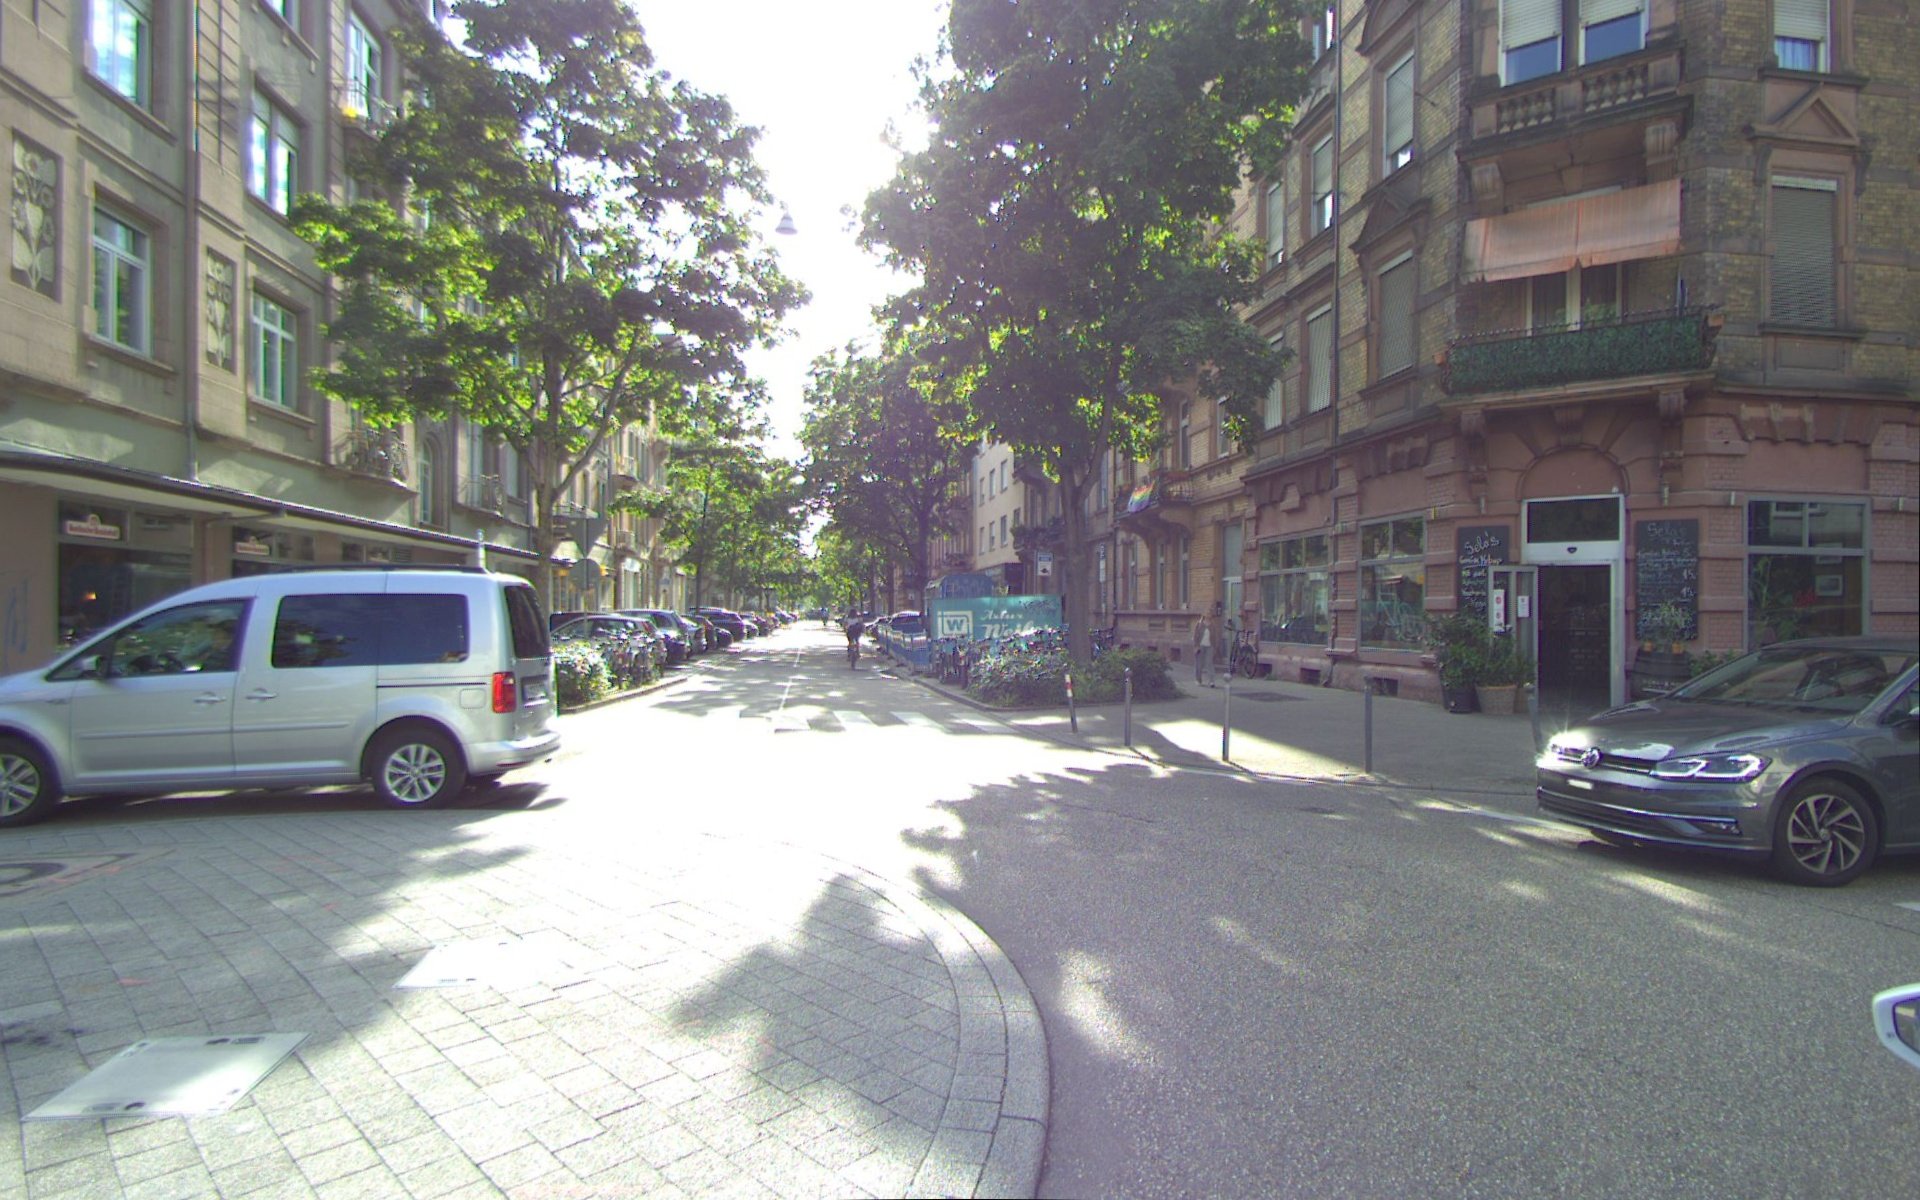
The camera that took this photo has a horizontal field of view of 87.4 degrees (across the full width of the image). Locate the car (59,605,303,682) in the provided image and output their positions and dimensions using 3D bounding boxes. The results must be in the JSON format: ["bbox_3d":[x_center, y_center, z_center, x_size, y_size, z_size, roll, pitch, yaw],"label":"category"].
[{"bbox_3d":[-17.289,0.925,22.527,3.937,1.572,1.759,0,1,-19],"label":"car"}]

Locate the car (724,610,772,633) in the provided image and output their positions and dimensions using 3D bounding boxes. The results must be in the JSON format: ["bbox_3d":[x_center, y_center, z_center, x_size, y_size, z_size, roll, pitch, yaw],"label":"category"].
[{"bbox_3d":[-15.348,1.563,72.746,3.297,1.615,1.594,0,1,-7],"label":"car"}]

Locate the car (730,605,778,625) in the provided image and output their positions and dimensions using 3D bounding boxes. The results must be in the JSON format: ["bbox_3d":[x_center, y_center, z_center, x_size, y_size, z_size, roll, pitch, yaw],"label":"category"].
[{"bbox_3d":[-16.267,1.193,79.279,3.651,1.492,1.801,0,1,-12],"label":"car"}]

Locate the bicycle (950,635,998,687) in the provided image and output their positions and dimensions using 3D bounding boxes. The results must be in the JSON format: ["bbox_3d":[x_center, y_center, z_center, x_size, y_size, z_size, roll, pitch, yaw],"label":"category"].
[{"bbox_3d":[0.299,1.364,22.899,0.581,1.043,2.071,-1,0,-14],"label":"bicycle"}]

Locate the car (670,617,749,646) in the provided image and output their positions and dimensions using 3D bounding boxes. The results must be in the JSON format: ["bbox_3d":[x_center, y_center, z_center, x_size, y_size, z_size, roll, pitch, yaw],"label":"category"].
[{"bbox_3d":[-11.237,1.426,45.197,3.277,1.270,1.375,0,-2,-8],"label":"car"}]

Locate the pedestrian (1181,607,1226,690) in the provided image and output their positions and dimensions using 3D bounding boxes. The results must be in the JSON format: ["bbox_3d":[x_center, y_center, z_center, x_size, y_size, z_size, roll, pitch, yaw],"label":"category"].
[{"bbox_3d":[4.902,0.952,20.240,0.603,1.599,0.809,-3,1,-3],"label":"pedestrian"}]

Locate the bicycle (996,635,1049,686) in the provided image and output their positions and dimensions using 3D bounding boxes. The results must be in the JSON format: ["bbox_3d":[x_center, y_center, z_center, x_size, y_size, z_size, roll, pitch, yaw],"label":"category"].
[{"bbox_3d":[1.399,1.353,22.827,0.581,1.025,2.071,-1,0,-14],"label":"bicycle"}]

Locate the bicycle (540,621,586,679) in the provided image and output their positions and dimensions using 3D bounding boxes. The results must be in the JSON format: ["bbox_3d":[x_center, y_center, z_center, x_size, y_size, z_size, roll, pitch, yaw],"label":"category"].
[{"bbox_3d":[-8.275,1.015,20.990,0.470,1.149,2.259,0,-1,-11],"label":"bicycle"}]

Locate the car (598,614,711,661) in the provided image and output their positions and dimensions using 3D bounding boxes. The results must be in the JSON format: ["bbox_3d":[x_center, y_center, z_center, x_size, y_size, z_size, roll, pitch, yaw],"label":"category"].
[{"bbox_3d":[-9.737,1.186,32.225,3.277,1.462,1.375,0,-2,-8],"label":"car"}]

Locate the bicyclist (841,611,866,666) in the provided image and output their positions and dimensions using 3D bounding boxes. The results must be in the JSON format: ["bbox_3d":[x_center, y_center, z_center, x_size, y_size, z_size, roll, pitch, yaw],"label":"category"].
[{"bbox_3d":[-3.236,1.156,30.468,0.679,1.608,1.127,0,1,-3],"label":"bicyclist"}]

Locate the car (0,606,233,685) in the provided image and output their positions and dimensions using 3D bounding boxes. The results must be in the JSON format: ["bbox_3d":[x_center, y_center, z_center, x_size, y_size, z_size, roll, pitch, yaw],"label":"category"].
[{"bbox_3d":[-17.063,0.855,19.900,3.937,1.449,1.759,0,1,-19],"label":"car"}]

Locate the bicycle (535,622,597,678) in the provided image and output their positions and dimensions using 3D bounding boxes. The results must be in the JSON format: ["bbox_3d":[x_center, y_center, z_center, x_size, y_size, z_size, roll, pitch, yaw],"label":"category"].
[{"bbox_3d":[-8.692,1.079,22.264,0.695,1.117,2.510,-1,0,-8],"label":"bicycle"}]

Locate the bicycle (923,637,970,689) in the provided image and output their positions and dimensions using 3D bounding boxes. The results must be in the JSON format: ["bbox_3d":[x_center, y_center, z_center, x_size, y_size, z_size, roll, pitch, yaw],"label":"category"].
[{"bbox_3d":[-0.330,1.402,22.728,0.581,1.043,2.136,-1,0,-14],"label":"bicycle"}]

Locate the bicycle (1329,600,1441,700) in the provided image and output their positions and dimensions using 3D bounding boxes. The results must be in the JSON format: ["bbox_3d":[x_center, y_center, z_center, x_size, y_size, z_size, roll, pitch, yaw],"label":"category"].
[{"bbox_3d":[6.972,0.779,16.613,0.547,1.541,2.159,0,-1,-13],"label":"bicycle"}]

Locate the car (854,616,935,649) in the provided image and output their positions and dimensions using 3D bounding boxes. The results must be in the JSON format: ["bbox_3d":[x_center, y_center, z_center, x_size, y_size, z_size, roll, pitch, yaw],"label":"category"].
[{"bbox_3d":[-3.321,1.653,51.403,3.920,1.624,1.879,0,1,2],"label":"car"}]

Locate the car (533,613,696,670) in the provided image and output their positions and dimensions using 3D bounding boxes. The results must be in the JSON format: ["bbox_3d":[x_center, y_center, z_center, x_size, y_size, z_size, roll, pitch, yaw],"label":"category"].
[{"bbox_3d":[-9.436,1.113,27.653,3.999,1.496,1.575,0,1,-8],"label":"car"}]

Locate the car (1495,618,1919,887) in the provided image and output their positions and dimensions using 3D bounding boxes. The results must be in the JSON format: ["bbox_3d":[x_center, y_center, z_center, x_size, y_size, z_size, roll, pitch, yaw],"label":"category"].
[{"bbox_3d":[5.919,0.907,6.617,3.926,1.456,1.795,1,-2,-8],"label":"car"}]

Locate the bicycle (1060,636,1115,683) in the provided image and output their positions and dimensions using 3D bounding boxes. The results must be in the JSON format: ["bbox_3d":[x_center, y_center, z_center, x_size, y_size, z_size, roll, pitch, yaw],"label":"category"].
[{"bbox_3d":[2.987,1.386,23.752,0.581,0.981,2.071,-1,0,-14],"label":"bicycle"}]

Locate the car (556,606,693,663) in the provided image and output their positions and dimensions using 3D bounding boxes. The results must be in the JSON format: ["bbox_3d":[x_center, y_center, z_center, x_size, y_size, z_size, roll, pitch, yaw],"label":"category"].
[{"bbox_3d":[-9.986,1.014,30.107,3.631,1.618,1.575,0,1,-8],"label":"car"}]

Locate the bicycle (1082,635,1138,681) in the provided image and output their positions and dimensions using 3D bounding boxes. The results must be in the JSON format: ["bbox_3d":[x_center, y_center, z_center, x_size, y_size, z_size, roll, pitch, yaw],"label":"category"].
[{"bbox_3d":[3.599,1.379,24.305,0.581,0.981,2.071,-1,0,-14],"label":"bicycle"}]

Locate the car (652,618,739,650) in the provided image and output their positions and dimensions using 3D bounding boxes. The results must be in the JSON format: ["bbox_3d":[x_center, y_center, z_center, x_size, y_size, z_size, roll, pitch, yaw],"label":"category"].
[{"bbox_3d":[-10.868,1.405,41.431,3.277,1.270,1.375,0,-2,-8],"label":"car"}]

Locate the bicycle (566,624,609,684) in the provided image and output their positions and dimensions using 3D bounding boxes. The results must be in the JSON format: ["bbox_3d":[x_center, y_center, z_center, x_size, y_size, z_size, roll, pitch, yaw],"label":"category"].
[{"bbox_3d":[-7.800,1.097,21.097,0.470,1.173,2.287,0,-1,-11],"label":"bicycle"}]

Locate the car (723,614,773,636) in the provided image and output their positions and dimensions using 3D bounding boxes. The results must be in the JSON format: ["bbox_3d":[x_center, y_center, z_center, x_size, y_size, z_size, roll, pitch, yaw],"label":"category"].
[{"bbox_3d":[-14.562,1.706,69.032,3.277,1.495,1.405,0,-2,-8],"label":"car"}]

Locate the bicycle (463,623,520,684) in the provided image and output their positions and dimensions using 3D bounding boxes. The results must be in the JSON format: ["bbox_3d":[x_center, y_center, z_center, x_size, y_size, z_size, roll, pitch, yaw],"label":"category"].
[{"bbox_3d":[-9.538,1.054,20.511,0.470,1.149,2.427,0,-1,-11],"label":"bicycle"}]

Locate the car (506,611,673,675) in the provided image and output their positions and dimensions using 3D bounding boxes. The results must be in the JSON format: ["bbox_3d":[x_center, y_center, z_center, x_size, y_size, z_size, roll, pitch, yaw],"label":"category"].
[{"bbox_3d":[-9.223,1.047,25.195,3.629,1.496,1.575,0,1,-6],"label":"car"}]

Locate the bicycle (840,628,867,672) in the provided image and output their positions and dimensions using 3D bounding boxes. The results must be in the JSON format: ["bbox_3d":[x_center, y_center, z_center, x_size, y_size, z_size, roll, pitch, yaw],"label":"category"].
[{"bbox_3d":[-3.237,1.517,30.622,0.679,1.215,1.977,0,1,-3],"label":"bicycle"}]

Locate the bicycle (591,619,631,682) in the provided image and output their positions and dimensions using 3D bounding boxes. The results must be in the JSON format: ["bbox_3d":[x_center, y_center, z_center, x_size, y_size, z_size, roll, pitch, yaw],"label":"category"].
[{"bbox_3d":[-7.294,1.021,21.068,0.470,1.240,2.289,0,-1,-11],"label":"bicycle"}]

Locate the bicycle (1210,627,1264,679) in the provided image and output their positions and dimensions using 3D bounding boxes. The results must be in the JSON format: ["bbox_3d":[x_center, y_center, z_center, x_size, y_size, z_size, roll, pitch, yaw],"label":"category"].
[{"bbox_3d":[6.234,1.176,22.698,0.518,1.081,1.780,1,0,-8],"label":"bicycle"}]

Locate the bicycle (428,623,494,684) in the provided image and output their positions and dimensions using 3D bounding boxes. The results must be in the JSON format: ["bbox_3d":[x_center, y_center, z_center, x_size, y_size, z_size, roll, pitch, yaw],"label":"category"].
[{"bbox_3d":[-10.091,1.042,20.393,0.569,1.149,2.427,0,-1,-11],"label":"bicycle"}]

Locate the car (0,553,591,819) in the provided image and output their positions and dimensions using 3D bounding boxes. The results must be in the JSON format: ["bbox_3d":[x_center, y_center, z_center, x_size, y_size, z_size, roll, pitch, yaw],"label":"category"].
[{"bbox_3d":[-5.353,0.610,7.995,4.252,1.814,1.832,0,-2,-10],"label":"car"}]

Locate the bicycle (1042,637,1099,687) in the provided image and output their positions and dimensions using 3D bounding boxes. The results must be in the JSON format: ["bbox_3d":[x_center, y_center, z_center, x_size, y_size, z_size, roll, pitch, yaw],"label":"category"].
[{"bbox_3d":[2.504,1.388,23.001,0.581,1.025,2.071,-1,0,-14],"label":"bicycle"}]

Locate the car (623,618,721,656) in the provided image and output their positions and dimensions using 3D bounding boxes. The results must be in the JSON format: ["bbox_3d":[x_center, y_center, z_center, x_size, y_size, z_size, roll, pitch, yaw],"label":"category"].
[{"bbox_3d":[-10.515,1.359,36.810,3.277,1.350,1.375,0,-2,-8],"label":"car"}]
